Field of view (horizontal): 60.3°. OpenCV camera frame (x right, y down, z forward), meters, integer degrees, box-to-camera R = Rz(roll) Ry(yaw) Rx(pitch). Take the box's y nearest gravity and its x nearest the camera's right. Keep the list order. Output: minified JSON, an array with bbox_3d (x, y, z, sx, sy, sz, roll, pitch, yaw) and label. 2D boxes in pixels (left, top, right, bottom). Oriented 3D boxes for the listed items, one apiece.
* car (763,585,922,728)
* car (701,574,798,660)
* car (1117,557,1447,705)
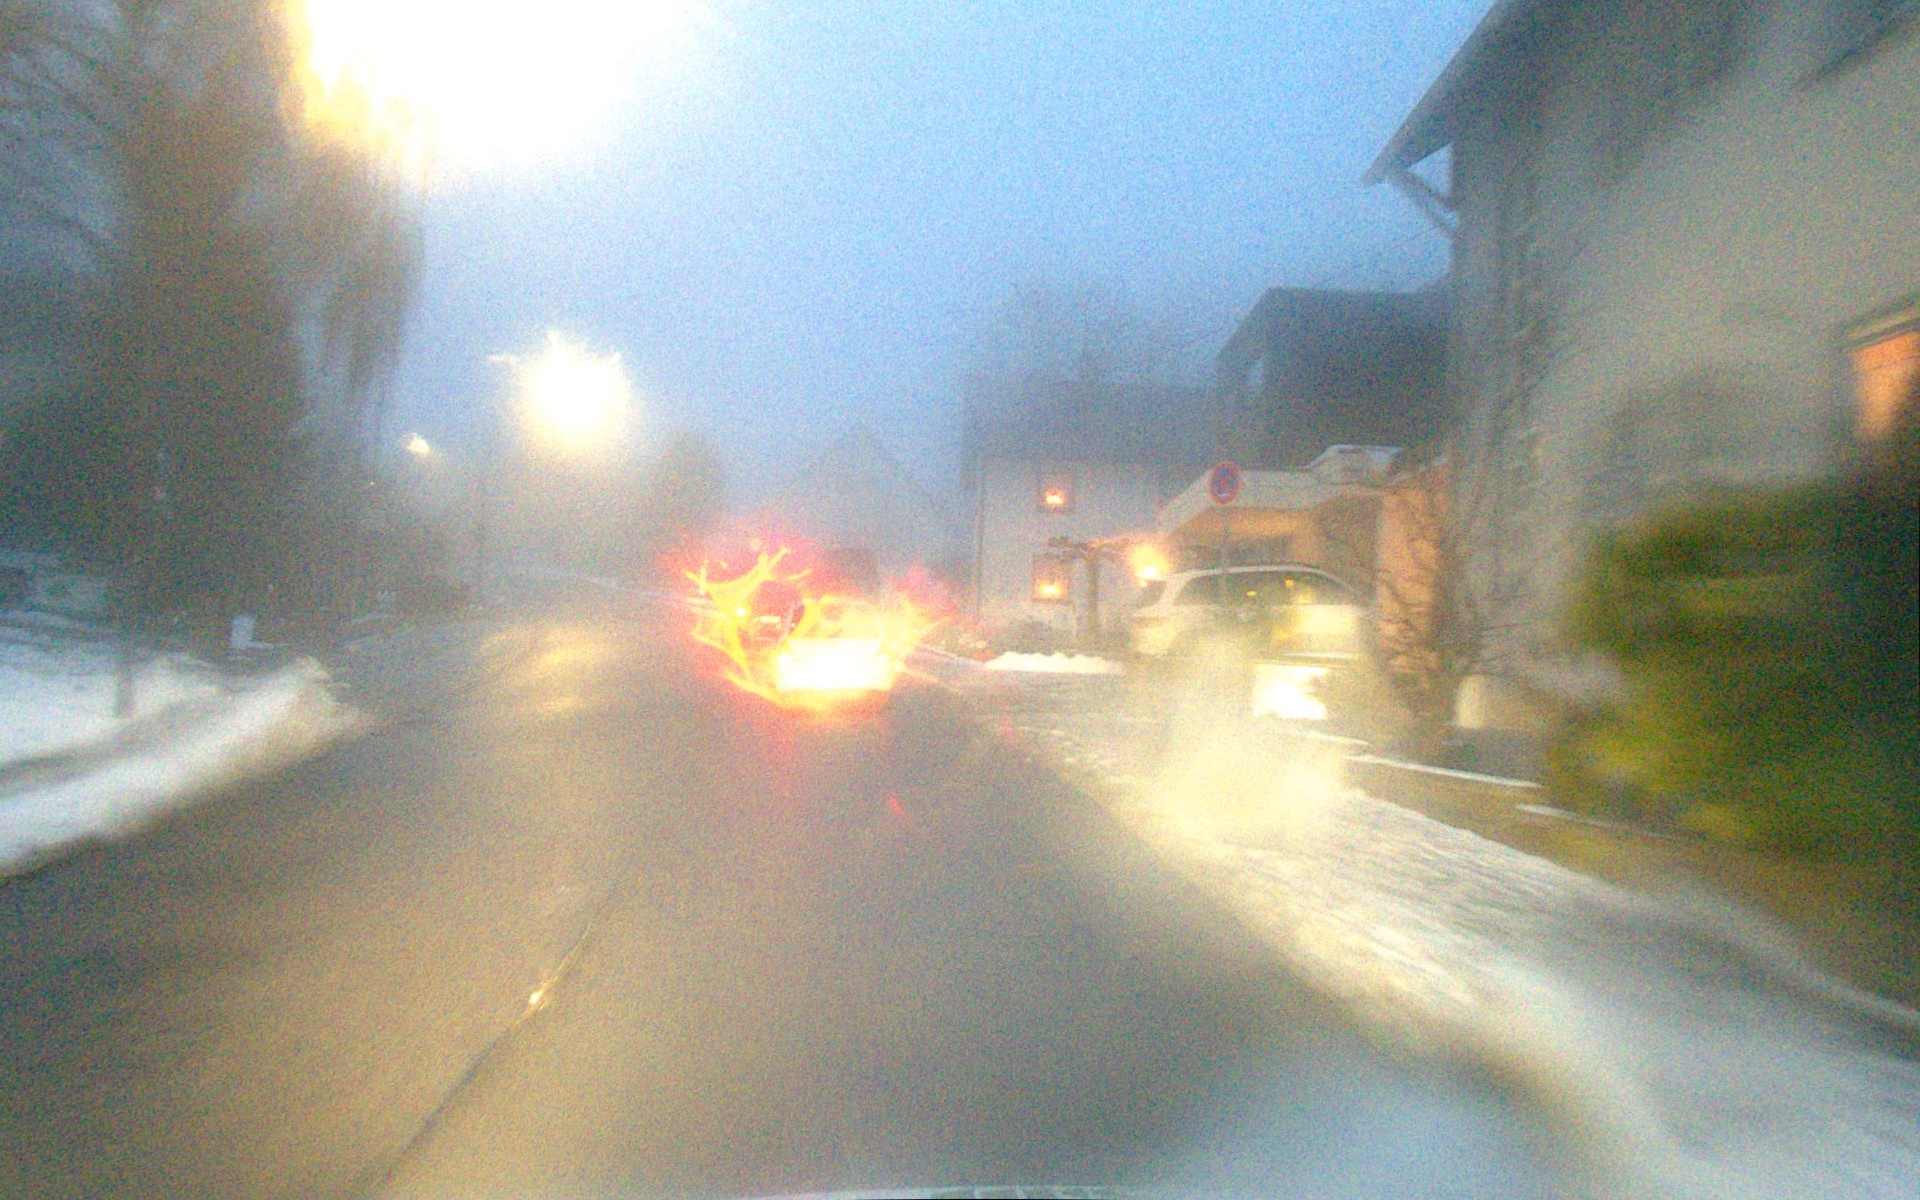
[{"bbox_3d":[-1.718,0.697,22.868,1.862,1.637,3.994,5,0,-7],"label":"car"},{"bbox_3d":[-4.541,0.363,36.204,1.955,1.767,3.874,1,-1,-5],"label":"car"},{"bbox_3d":[4.273,0.409,22.458,4.119,1.891,1.911,1,-1,0],"label":"car"}]
